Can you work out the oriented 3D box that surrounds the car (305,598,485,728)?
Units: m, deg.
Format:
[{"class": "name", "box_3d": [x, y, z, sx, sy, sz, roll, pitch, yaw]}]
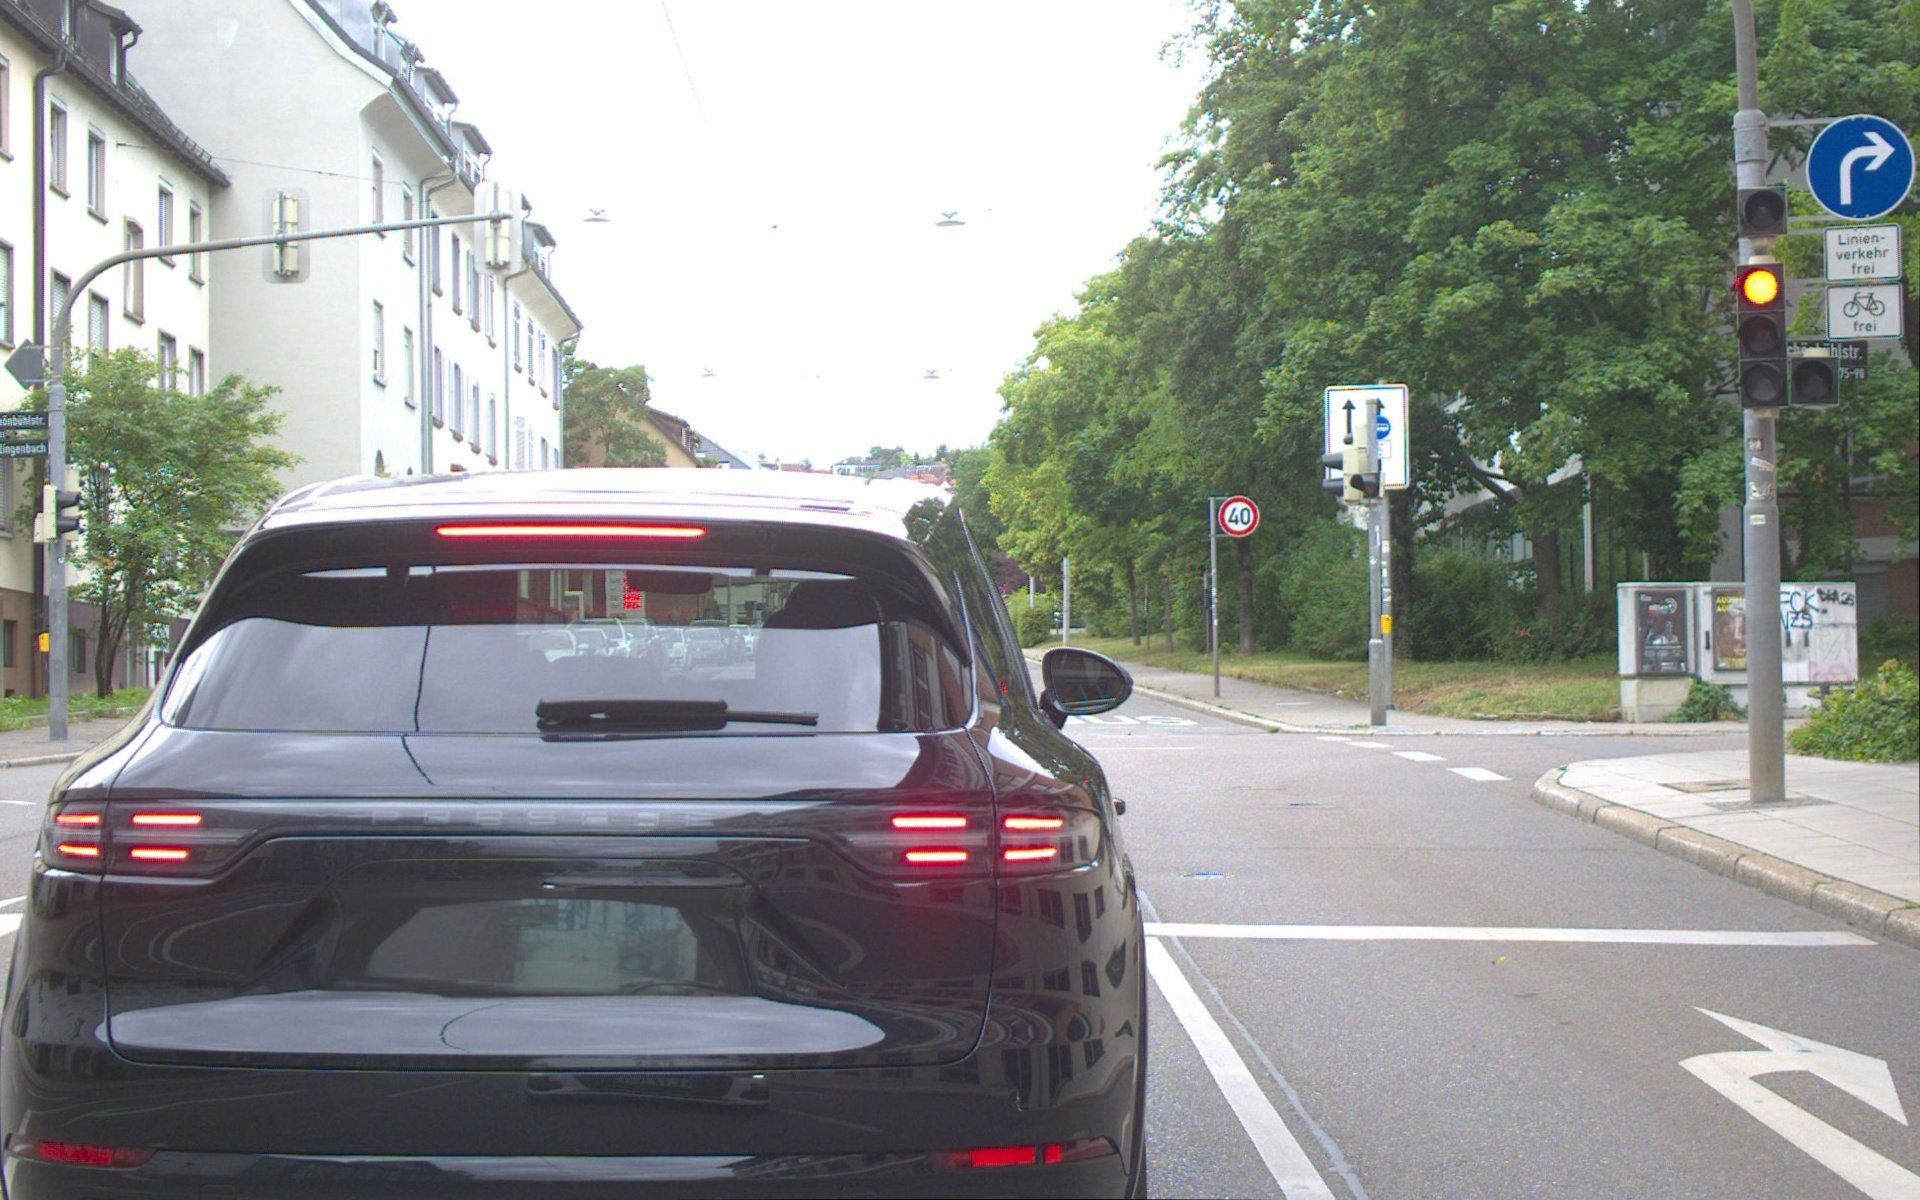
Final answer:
[{"class": "car", "box_3d": [-7.433, 0.805, 45.533, 1.664, 1.514, 3.740, -4, 0, 0]}]

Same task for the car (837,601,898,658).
[{"class": "car", "box_3d": [-2.640, 0.822, 97.540, 1.688, 1.547, 3.889, 1, 1, -2]}]

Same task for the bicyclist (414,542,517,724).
[{"class": "bicyclist", "box_3d": [-4.205, 0.275, 29.223, 0.809, 1.514, 0.707, 1, 0, -11]}]

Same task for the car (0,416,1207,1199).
[{"class": "car", "box_3d": [-0.659, 0.561, 7.162, 1.993, 1.691, 4.000, 1, 1, -1]}]

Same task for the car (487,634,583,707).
[{"class": "car", "box_3d": [-8.568, 1.409, 69.542, 1.669, 1.357, 4.001, 0, 1, -3]}]

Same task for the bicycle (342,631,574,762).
[{"class": "bicycle", "box_3d": [-4.272, 0.817, 29.216, 1.905, 1.077, 0.703, 1, 0, -12]}]
